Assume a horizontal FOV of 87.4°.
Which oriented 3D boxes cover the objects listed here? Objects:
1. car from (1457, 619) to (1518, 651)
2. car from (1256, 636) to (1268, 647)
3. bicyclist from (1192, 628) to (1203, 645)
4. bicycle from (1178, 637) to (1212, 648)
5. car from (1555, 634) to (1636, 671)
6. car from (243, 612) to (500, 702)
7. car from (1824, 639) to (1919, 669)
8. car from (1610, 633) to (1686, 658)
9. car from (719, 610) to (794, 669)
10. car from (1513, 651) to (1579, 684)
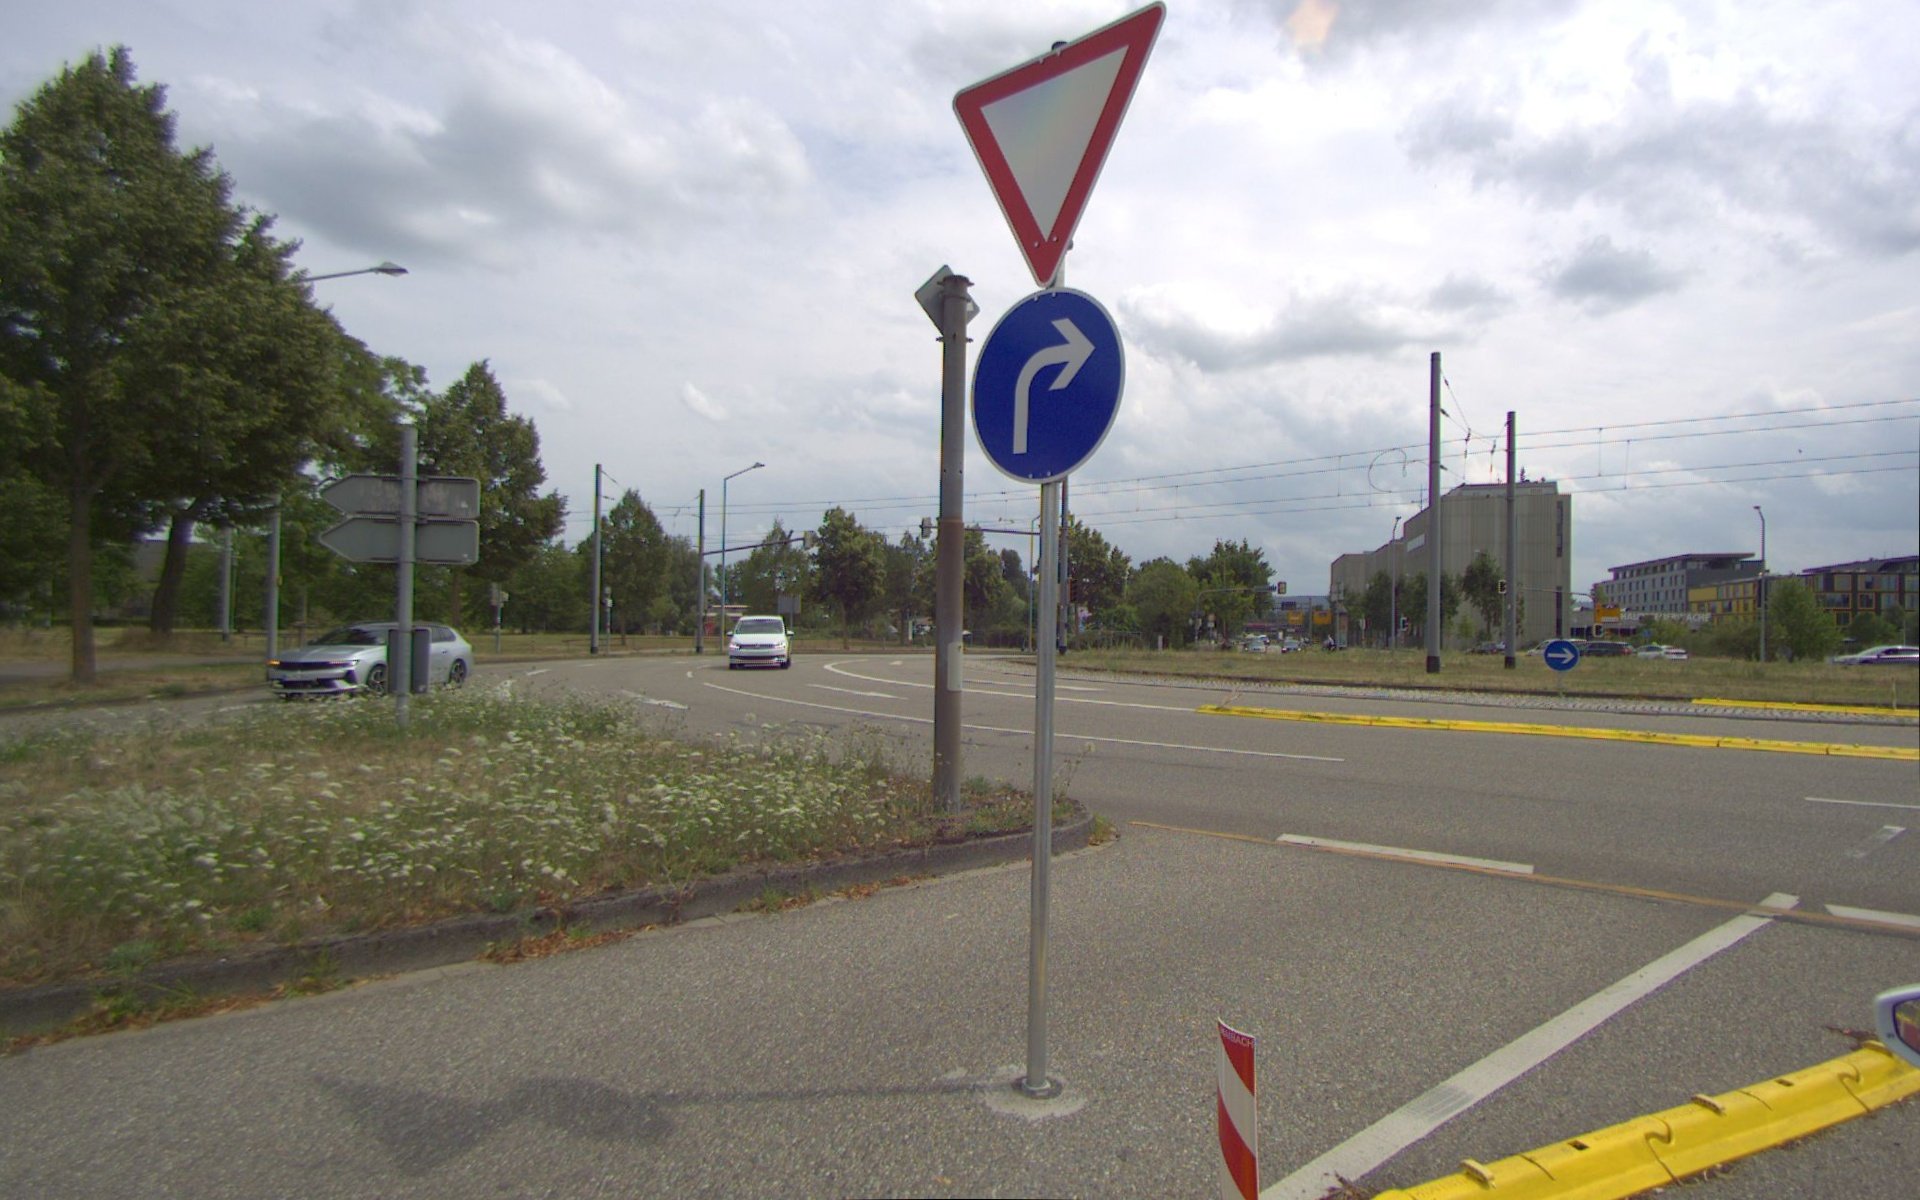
[{"bbox_3d":[36.609,2.430,69.809,1.961,2.040,4.000,3,-1,-2],"label":"car"},{"bbox_3d":[54.540,7.529,181.423,1.851,1.900,4.003,1,-1,13],"label":"car"},{"bbox_3d":[19.586,3.014,82.921,0.661,1.428,0.864,1,-1,-2],"label":"bicyclist"},{"bbox_3d":[19.402,3.515,82.912,2.607,0.866,0.864,1,-1,-2],"label":"bicycle"},{"bbox_3d":[38.574,3.169,60.981,3.939,2.040,1.991,2,-2,40],"label":"car"},{"bbox_3d":[-11.307,1.041,19.868,1.960,1.502,5.185,1,-1,0],"label":"car"},{"bbox_3d":[49.484,2.915,54.222,3.921,1.483,1.833,1,-2,21],"label":"car"},{"bbox_3d":[45.899,3.042,67.100,1.803,1.483,3.988,3,-1,-15],"label":"car"},{"bbox_3d":[-6.459,1.216,31.593,1.907,1.687,4.340,0,-2,-17],"label":"car"},{"bbox_3d":[40.964,4.691,70.353,1.961,2.040,4.361,3,-1,-2],"label":"car"}]
